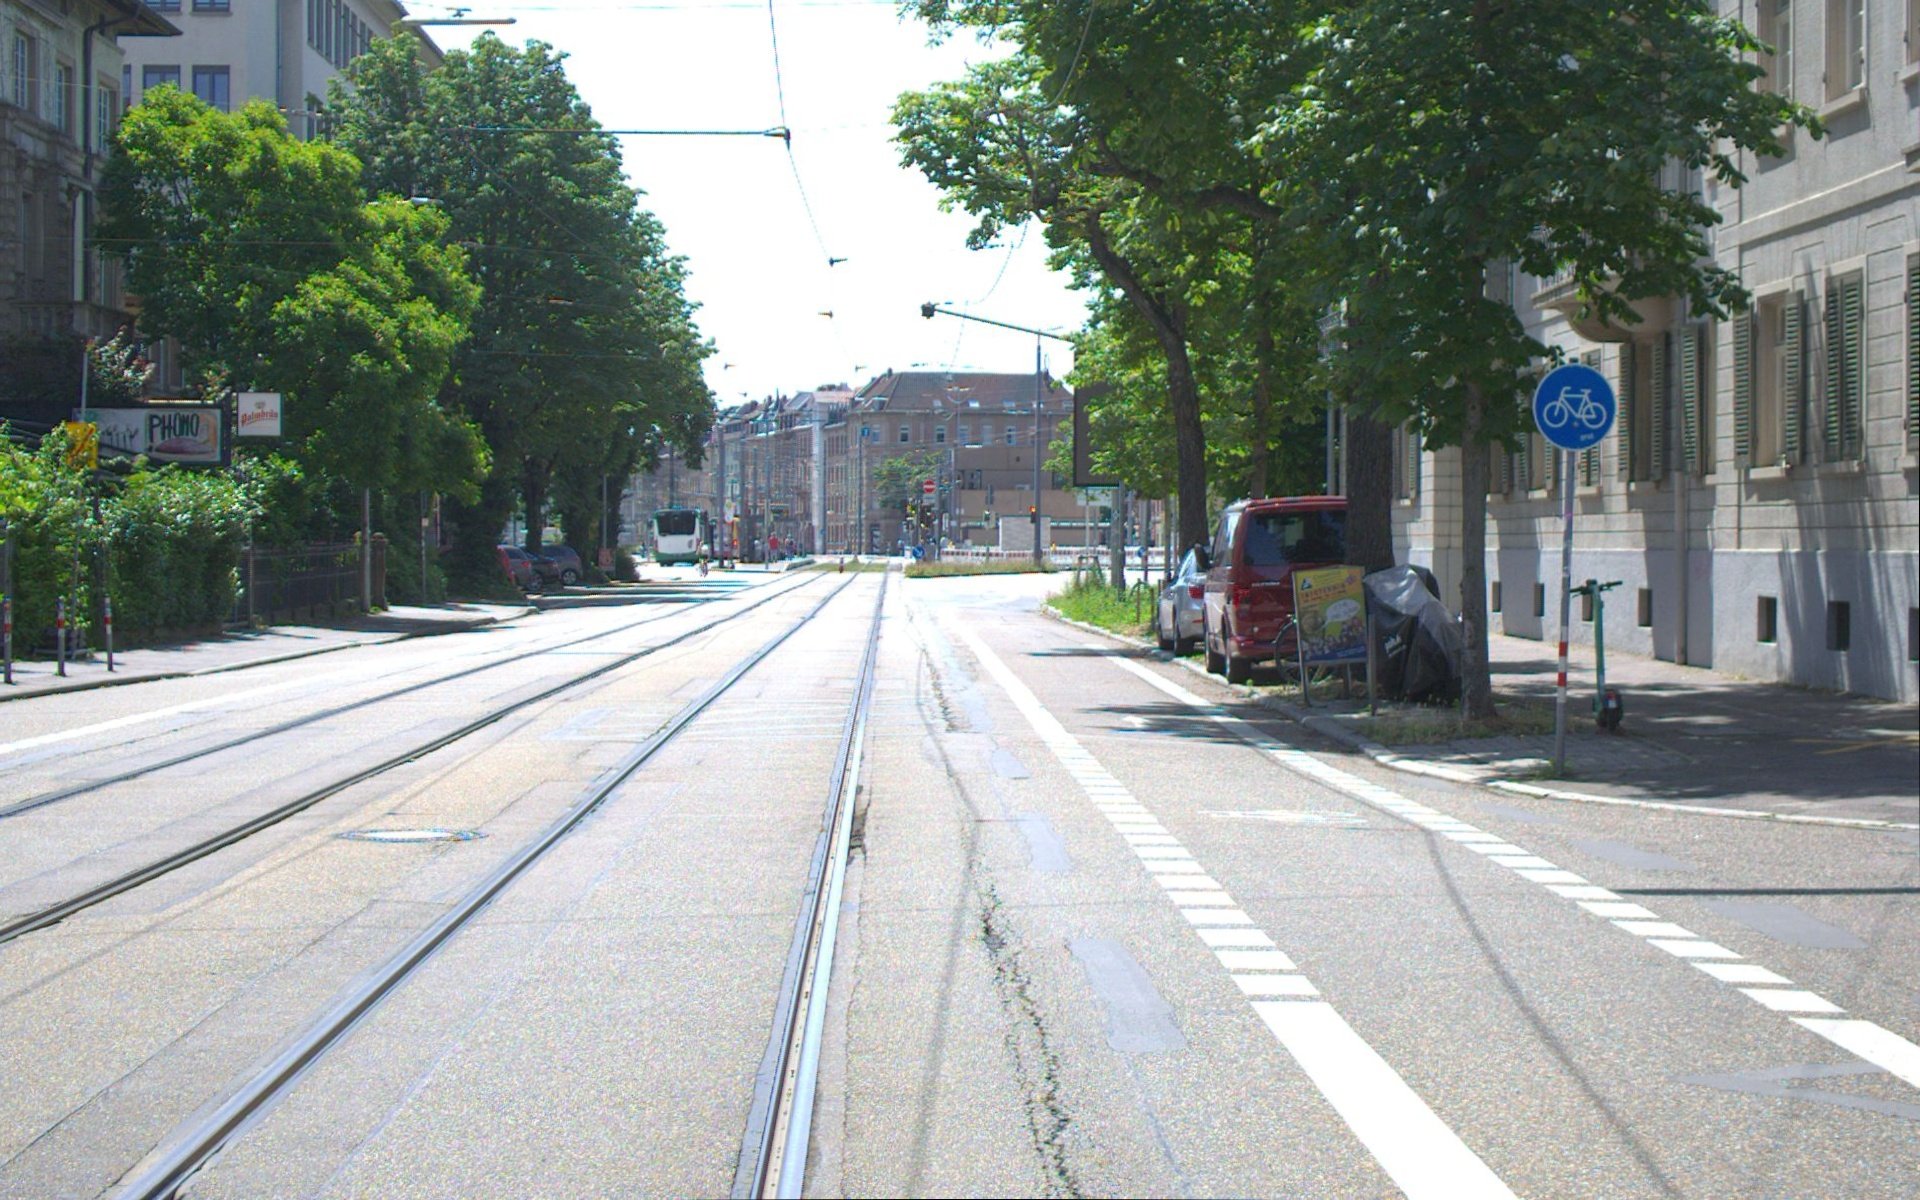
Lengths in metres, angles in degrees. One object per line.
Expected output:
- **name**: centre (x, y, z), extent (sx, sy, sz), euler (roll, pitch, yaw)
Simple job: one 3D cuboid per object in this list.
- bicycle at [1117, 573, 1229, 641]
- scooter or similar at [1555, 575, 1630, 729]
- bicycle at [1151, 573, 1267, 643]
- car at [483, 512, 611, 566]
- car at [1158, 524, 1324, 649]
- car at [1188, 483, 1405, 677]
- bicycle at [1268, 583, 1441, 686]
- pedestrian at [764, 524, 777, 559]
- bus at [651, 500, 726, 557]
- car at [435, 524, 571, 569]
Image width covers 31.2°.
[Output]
- **bicycle**: centre (3.199, 0.113, 51.673), extent (1.658, 1.012, 0.371), euler (0, -1, 0)
- **scooter or similar**: centre (4.936, 0.391, 26.851), extent (0.295, 1.157, 1.252), euler (1, 1, -2)
- **bicycle**: centre (3.670, 0.115, 50.721), extent (1.658, 1.012, 0.371), euler (1, 1, 0)
- **car**: centre (-12.205, -1.805, 101.606), extent (3.341, 1.511, 1.670), euler (1, 1, -26)
- **car**: centre (3.730, -0.166, 46.379), extent (1.859, 1.572, 4.877), euler (1, 0, 0)
- **car**: centre (3.703, -0.252, 38.640), extent (1.859, 2.007, 4.976), euler (1, 1, -1)
- **bicycle**: centre (3.973, 0.347, 34.648), extent (1.696, 1.018, 0.365), euler (0, 1, -7)
- **pedestrian**: centre (-10.514, -3.239, 190.647), extent (0.672, 1.903, 0.641), euler (0, 1, -10)
- **bus**: centre (-15.660, -4.125, 199.491), extent (3.010, 3.147, 17.499), euler (1, 1, 0)
- **car**: centre (-14.364, -1.686, 108.092), extent (3.920, 1.369, 1.670), euler (0, 1, -26)
